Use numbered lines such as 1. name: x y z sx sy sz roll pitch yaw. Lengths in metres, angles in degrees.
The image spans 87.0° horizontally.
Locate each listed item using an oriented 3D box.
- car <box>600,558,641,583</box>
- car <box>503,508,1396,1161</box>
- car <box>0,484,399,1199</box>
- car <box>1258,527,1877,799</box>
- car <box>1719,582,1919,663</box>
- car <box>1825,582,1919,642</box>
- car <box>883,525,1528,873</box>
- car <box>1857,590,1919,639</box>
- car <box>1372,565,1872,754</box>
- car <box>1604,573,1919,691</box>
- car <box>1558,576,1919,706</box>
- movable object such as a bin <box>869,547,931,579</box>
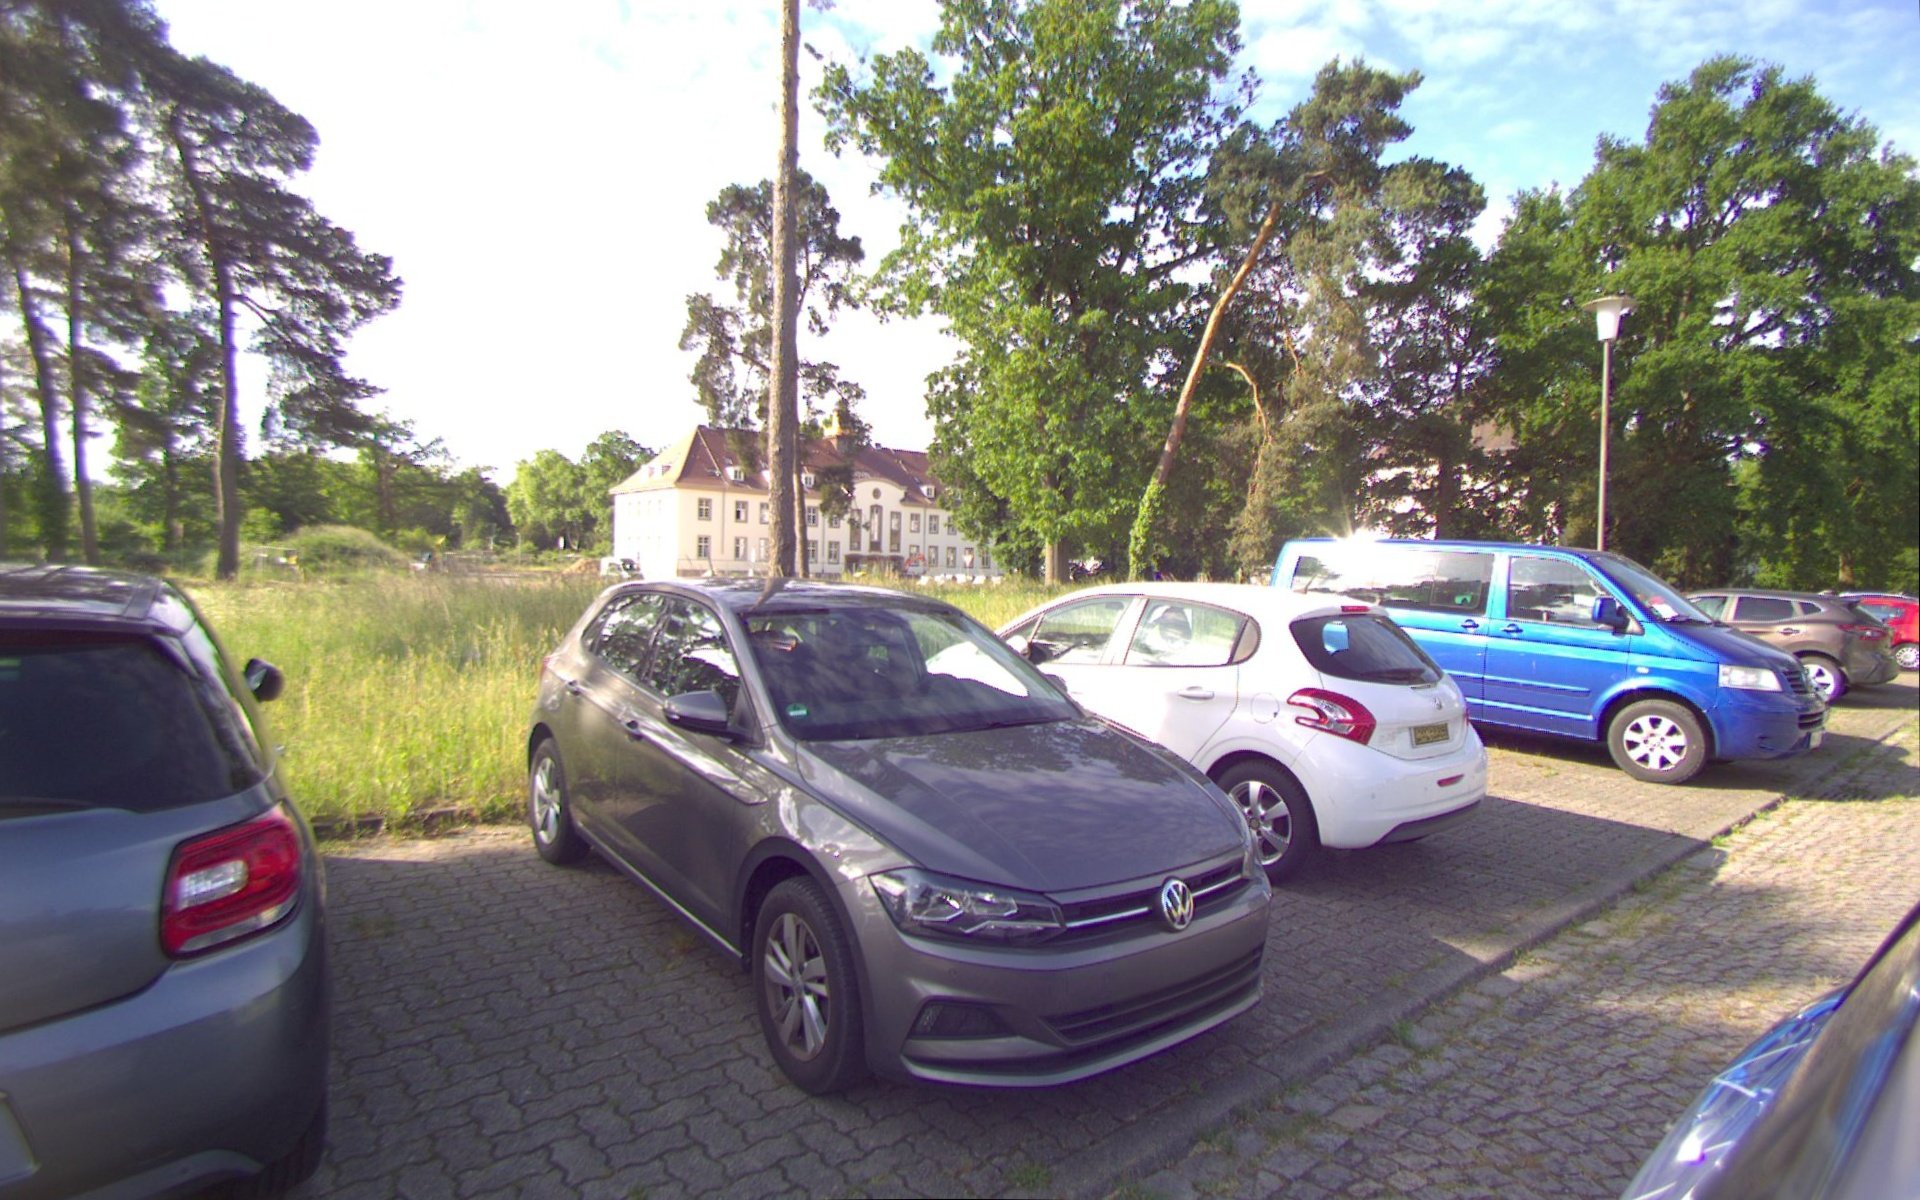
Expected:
1. car: -32.205 -2.787 95.976 1.967 2.240 4.423 -1 0 -43
2. car: -0.430 0.417 4.279 1.823 1.466 3.717 1 3 -39
3. car: -3.158 0.402 3.157 1.784 1.466 3.716 1 3 -40
4. car: 5.523 0.327 9.810 1.965 1.959 4.710 0 3 -40
5. car: 19.602 0.468 22.442 1.821 1.477 4.096 1 3 -41
6. car: 27.430 0.392 28.742 1.821 1.576 4.096 1 3 -41
7. car: 1.298 0.346 6.545 1.729 1.553 3.717 1 3 -39
8. car: 30.910 0.536 31.625 1.754 1.440 4.096 1 3 -41
9. car: 7.345 0.490 11.641 1.905 1.596 4.408 0 3 -40
10. car: 13.889 0.431 17.509 1.902 1.617 4.233 -1 4 -42
11. car: 11.932 0.496 15.665 1.902 1.617 4.232 -1 3 -42
12. movable object such as a bin: -6.575 -4.051 111.235 6.338 3.342 2.862 -1 0 7
